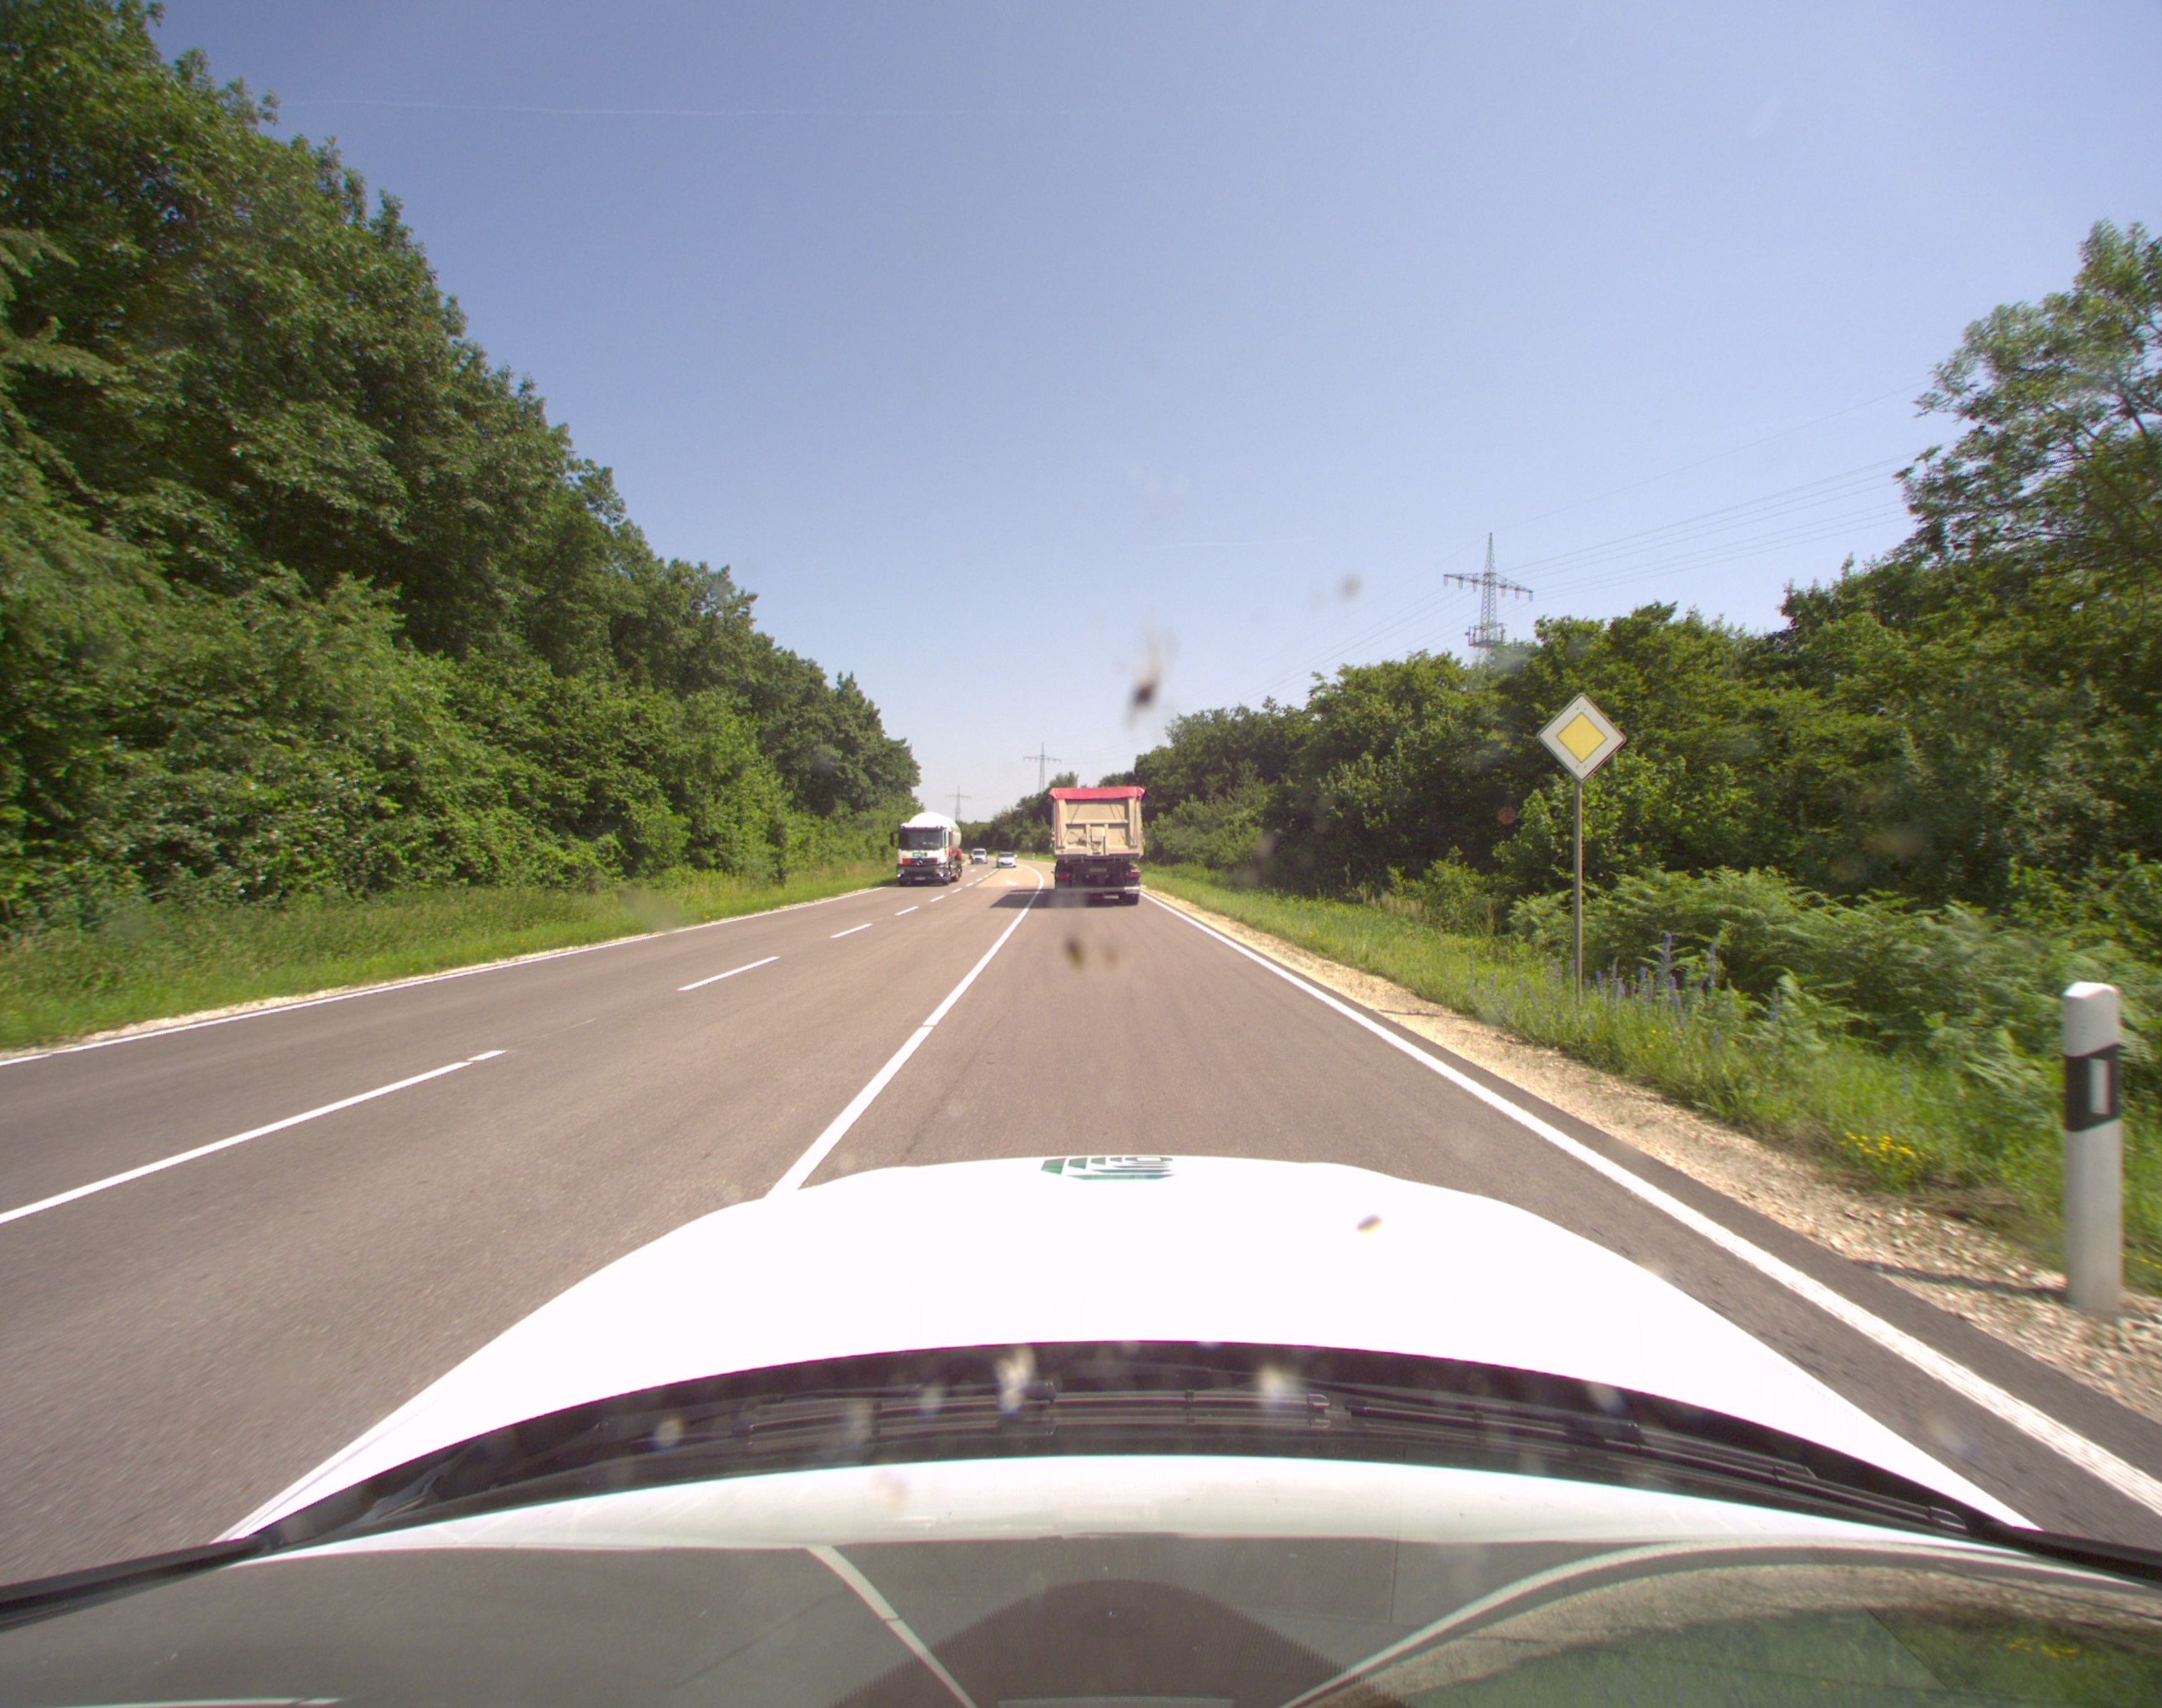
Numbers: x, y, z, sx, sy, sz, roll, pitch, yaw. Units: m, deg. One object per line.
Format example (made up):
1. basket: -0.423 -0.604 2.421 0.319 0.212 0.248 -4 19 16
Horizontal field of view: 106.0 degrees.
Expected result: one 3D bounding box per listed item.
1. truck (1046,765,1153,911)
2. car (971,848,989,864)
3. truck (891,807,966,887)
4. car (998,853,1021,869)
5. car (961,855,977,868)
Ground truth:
1. truck: 0.334 -0.490 28.270 2.885 3.962 11.924 -1 0 -2
2. car: -11.823 0.233 95.407 1.839 1.779 4.885 -1 -1 -4
3. truck: -7.728 -0.309 42.388 2.621 3.671 8.787 -1 0 -3
4. car: -6.605 0.691 75.611 1.702 1.419 4.099 -1 -1 2
5. car: -15.658 1.056 113.806 1.839 1.779 4.885 -1 -1 -4
